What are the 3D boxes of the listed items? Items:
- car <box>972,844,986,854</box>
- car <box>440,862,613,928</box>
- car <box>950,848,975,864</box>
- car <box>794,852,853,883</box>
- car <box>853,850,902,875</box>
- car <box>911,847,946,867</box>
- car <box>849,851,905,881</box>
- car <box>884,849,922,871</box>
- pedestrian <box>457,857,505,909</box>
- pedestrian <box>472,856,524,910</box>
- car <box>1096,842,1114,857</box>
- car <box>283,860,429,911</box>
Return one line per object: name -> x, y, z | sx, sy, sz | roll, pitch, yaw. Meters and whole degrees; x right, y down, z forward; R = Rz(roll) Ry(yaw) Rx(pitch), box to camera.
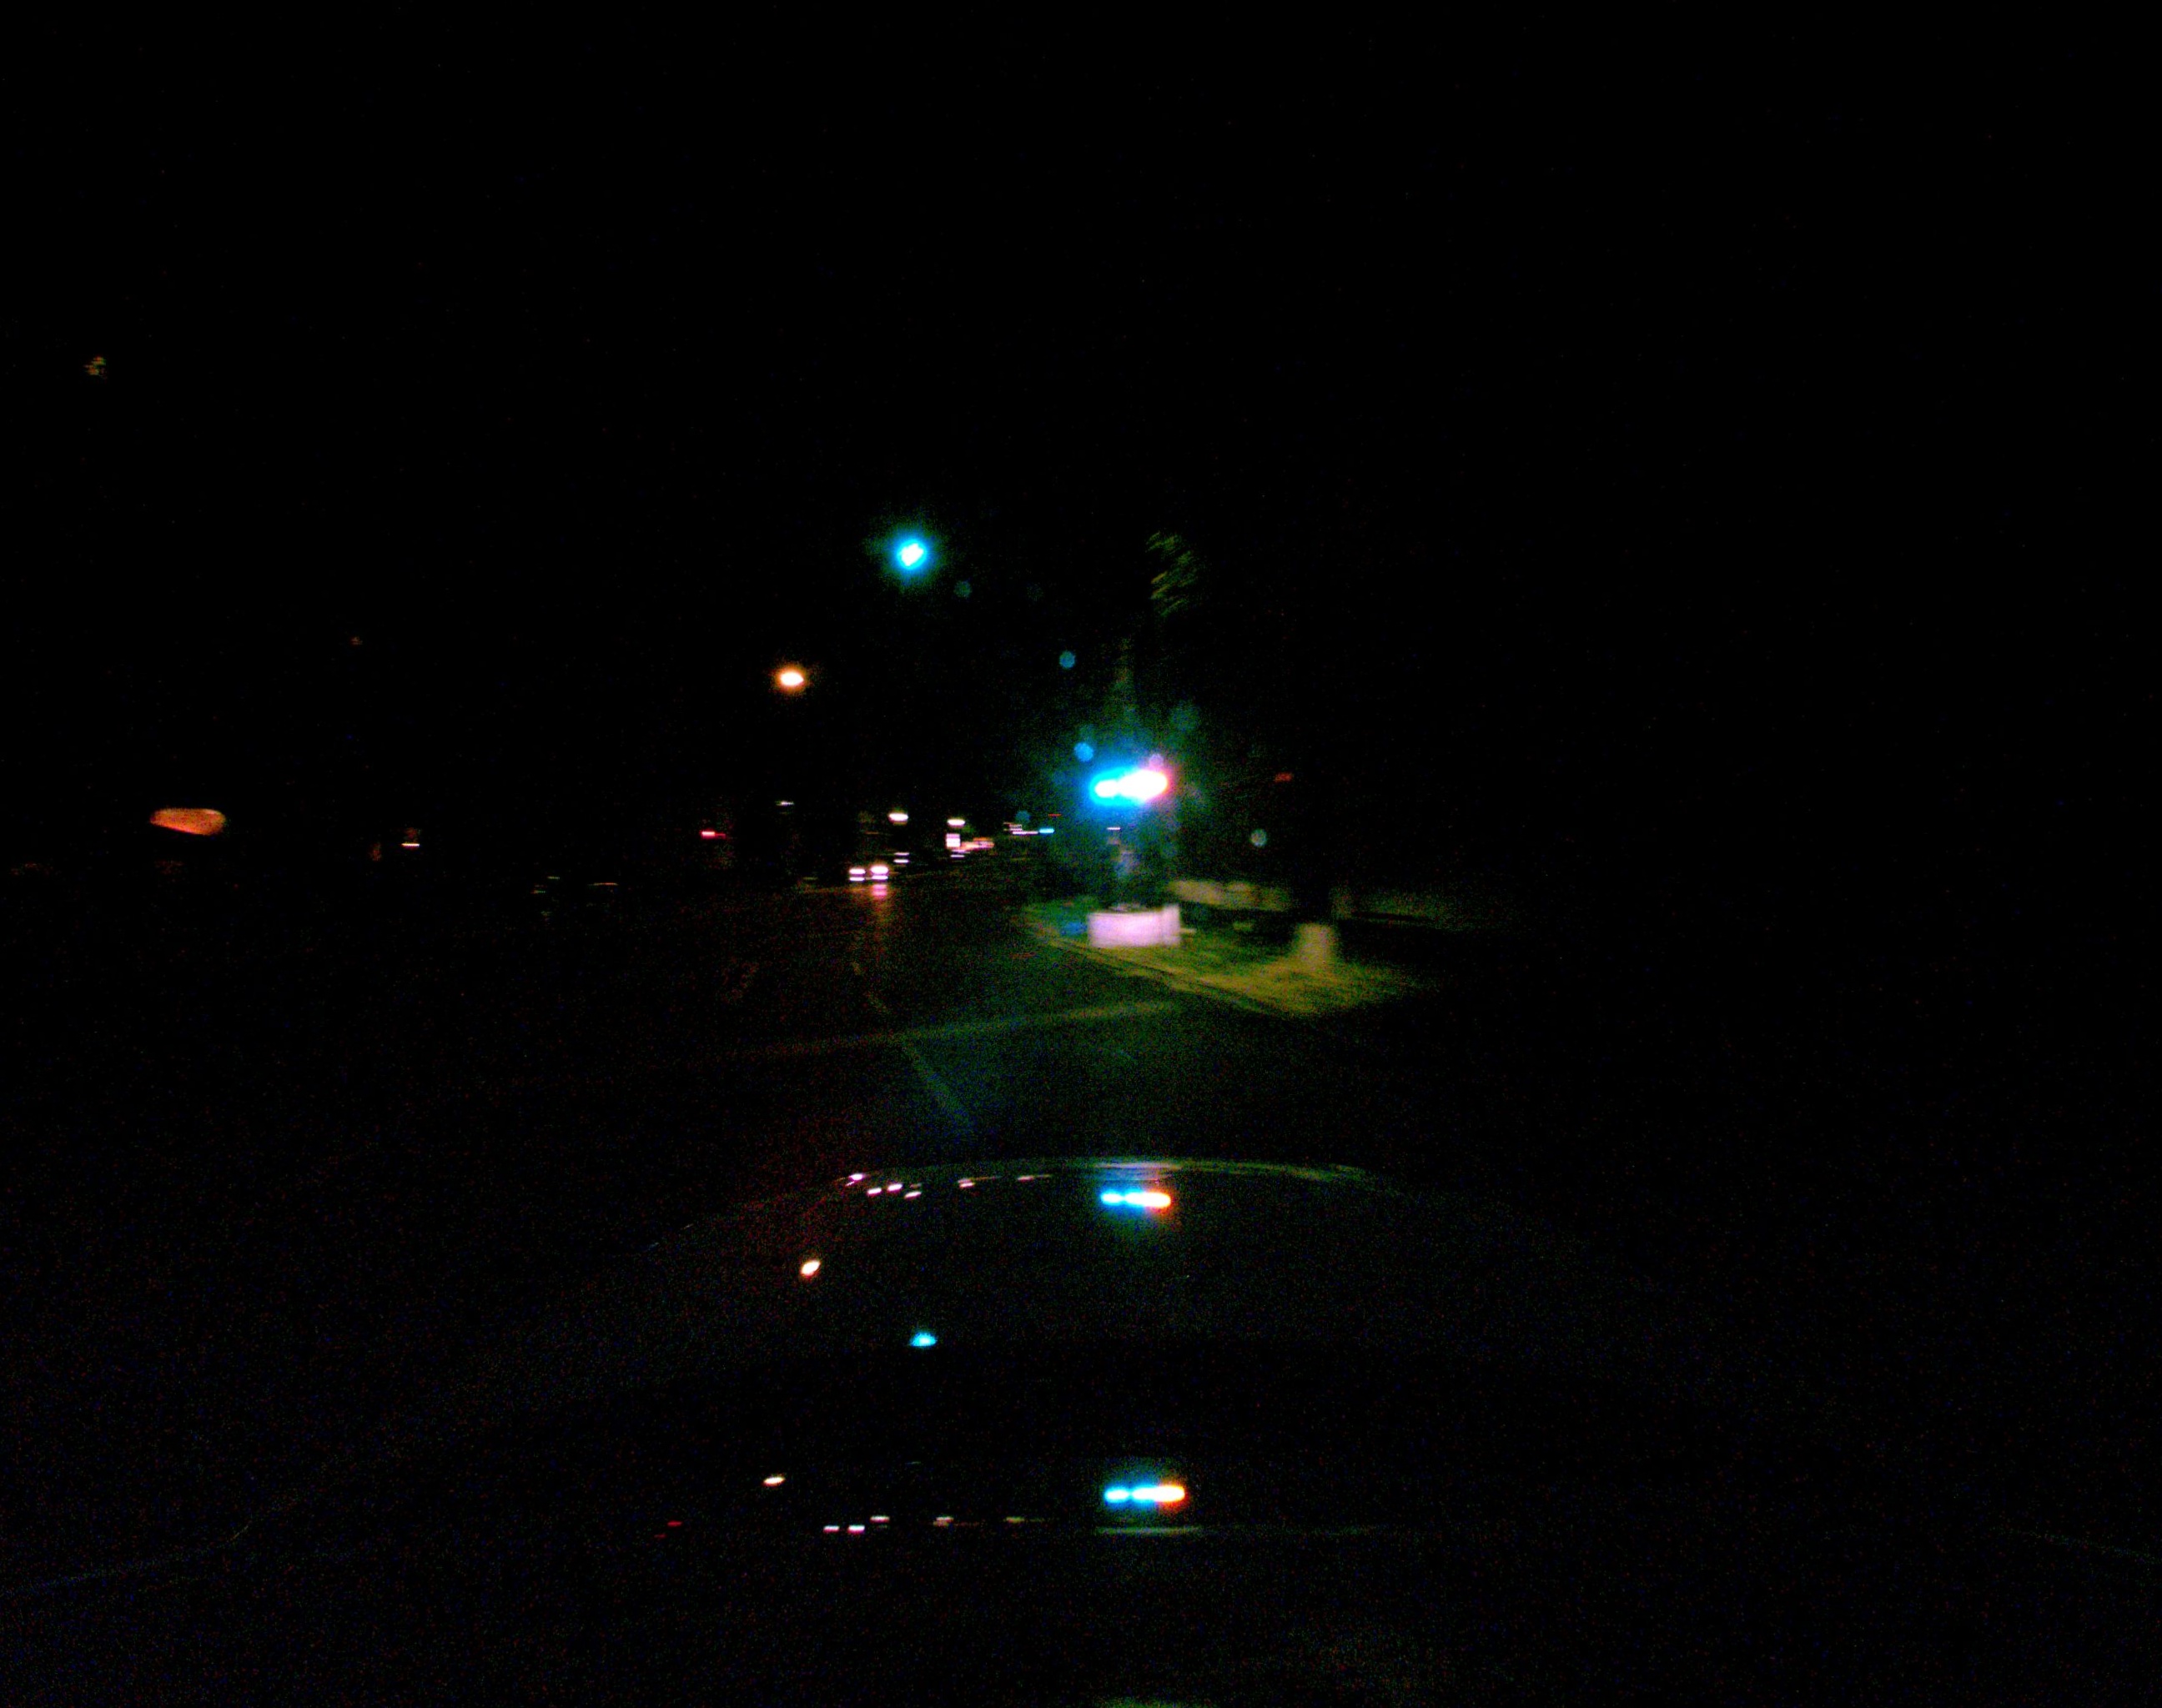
car -> -17.681, -0.913, 141.590 | 1.988, 1.574, 4.327 | -2, 1, -1
car -> -15.445, 1.075, 22.996 | 1.877, 1.596, 4.029 | 0, 1, 5
car -> -11.586, 0.185, 79.823 | 1.778, 1.415, 4.129 | 0, 1, 2
car -> -13.939, 0.702, 44.285 | 1.583, 1.491, 3.708 | 1, 1, 8
car -> -13.300, 0.536, 53.532 | 1.776, 1.491, 4.336 | 1, 1, 5
car -> -12.518, 0.219, 67.115 | 1.776, 1.581, 4.417 | 1, 1, 5
car -> -10.998, 0.611, 44.217 | 1.708, 1.429, 4.004 | -3, 1, 4
car -> -12.839, 0.408, 58.984 | 1.778, 1.491, 4.002 | 1, 1, 2
pedestrian -> -20.154, 0.966, 27.362 | 0.704, 1.690, 1.001 | -2, 1, 13
pedestrian -> -19.244, 0.955, 26.887 | 0.704, 1.690, 1.128 | -2, 1, 13
car -> 2.580, -0.492, 87.895 | 1.728, 1.459, 4.726 | -1, 1, -1
car -> -28.396, 1.205, 32.002 | 3.972, 1.775, 1.902 | -2, 1, 1
